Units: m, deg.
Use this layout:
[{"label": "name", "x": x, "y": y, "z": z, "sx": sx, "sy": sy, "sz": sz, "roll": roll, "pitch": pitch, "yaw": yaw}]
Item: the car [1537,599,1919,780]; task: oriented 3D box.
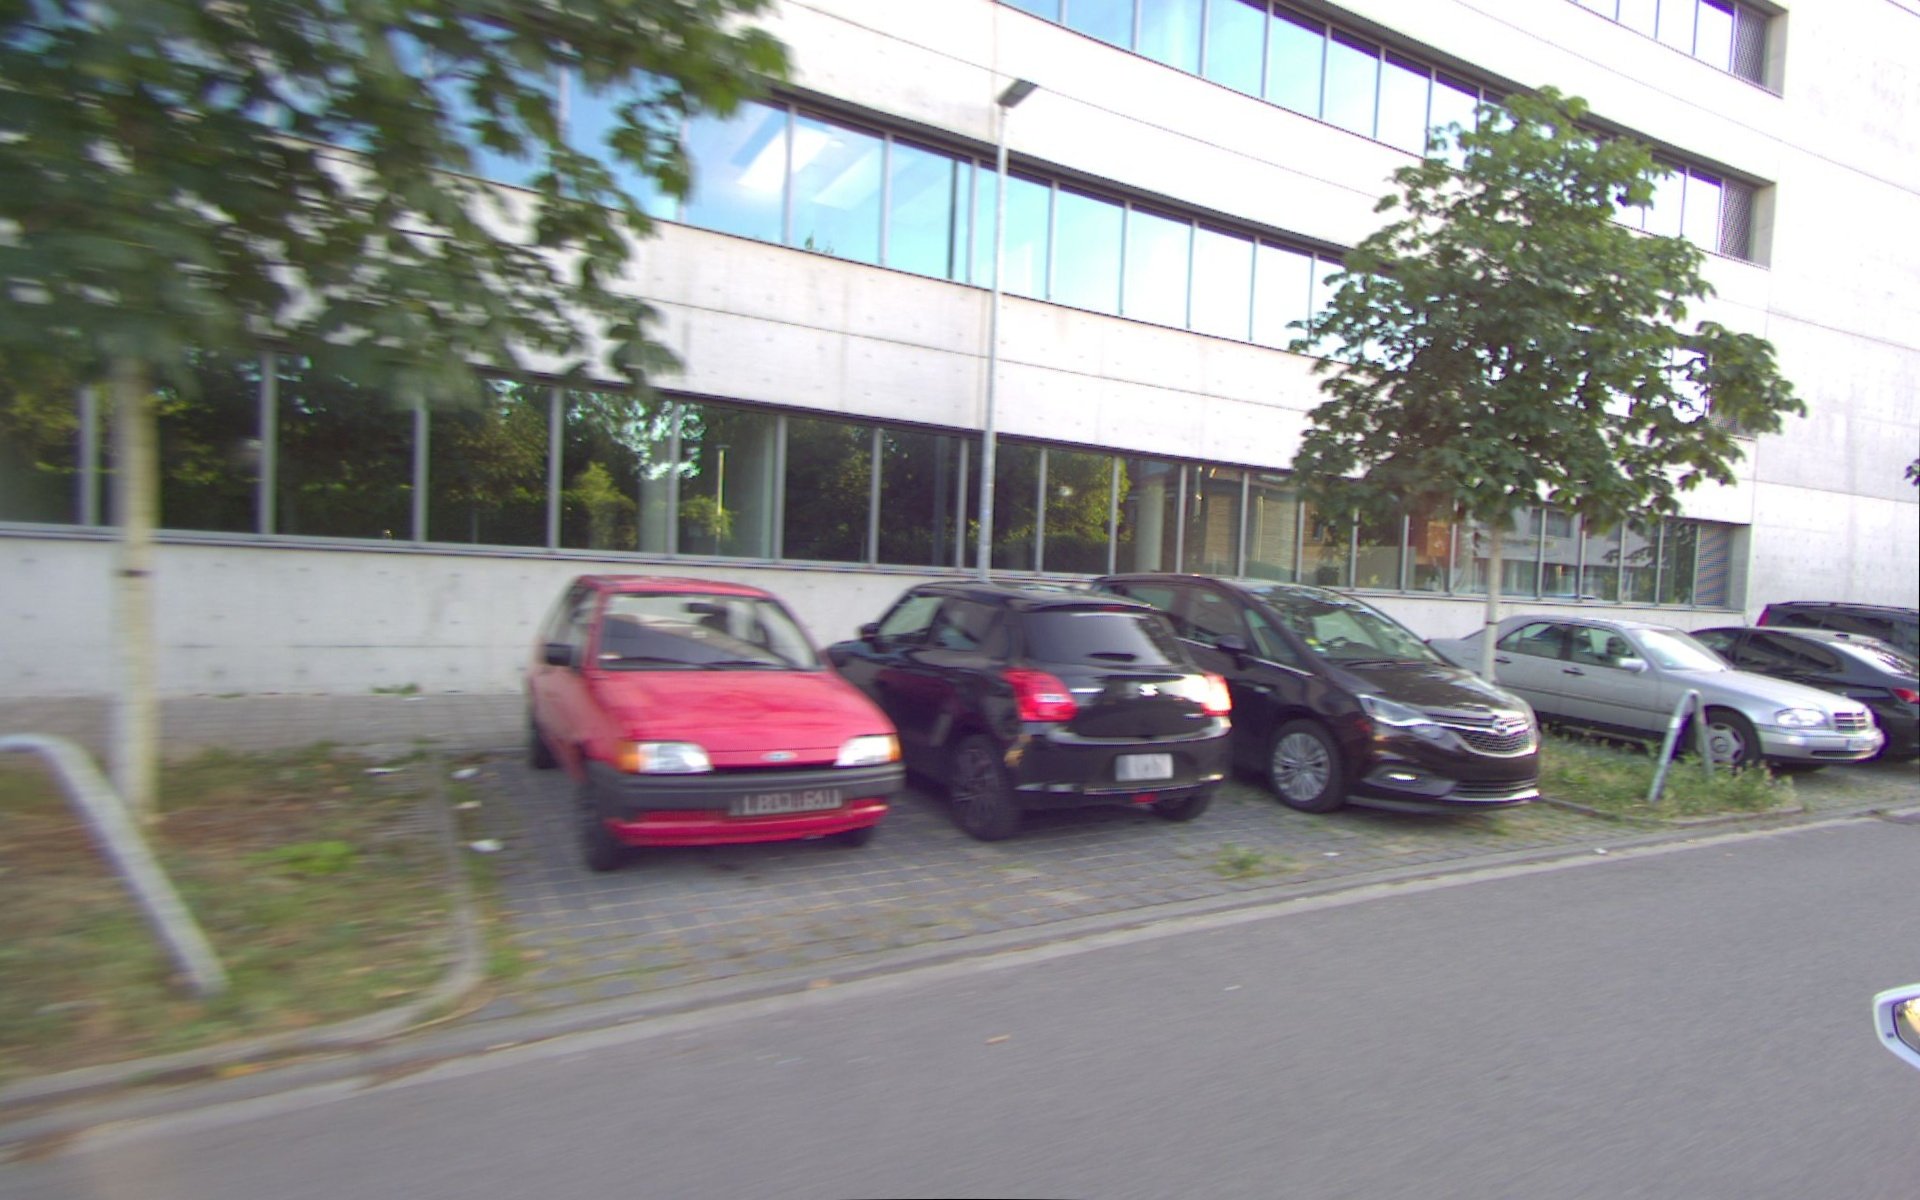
[{"label": "car", "x": 9.794, "y": 0.945, "z": 12.421, "sx": 1.738, "sy": 1.519, "sz": 4.387, "roll": 3, "pitch": 3, "yaw": -22}]

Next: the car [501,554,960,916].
[{"label": "car", "x": -1.693, "y": 0.527, "z": 6.252, "sx": 1.692, "sy": 1.477, "sz": 3.682, "roll": 2, "pitch": 2, "yaw": -31}]

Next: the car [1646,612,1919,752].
[{"label": "car", "x": 12.061, "y": 1.095, "z": 13.673, "sx": 1.702, "sy": 1.423, "sz": 4.129, "roll": 3, "pitch": 3, "yaw": -26}]

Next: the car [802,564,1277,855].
[{"label": "car", "x": 0.298, "y": 0.560, "z": 7.387, "sx": 1.659, "sy": 1.477, "sz": 3.684, "roll": 2, "pitch": 2, "yaw": -30}]

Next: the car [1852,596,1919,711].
[{"label": "car", "x": 18.528, "y": 1.142, "z": 16.714, "sx": 1.863, "sy": 1.973, "sz": 5.059, "roll": 3, "pitch": 3, "yaw": -25}]

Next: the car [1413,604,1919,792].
[{"label": "car", "x": 7.644, "y": 0.906, "z": 11.415, "sx": 1.740, "sy": 1.484, "sz": 4.418, "roll": 1, "pitch": 2, "yaw": -26}]

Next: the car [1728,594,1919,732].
[{"label": "car", "x": 14.159, "y": 0.988, "z": 14.687, "sx": 1.702, "sy": 1.766, "sz": 4.232, "roll": 3, "pitch": 3, "yaw": -26}]

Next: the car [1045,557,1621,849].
[{"label": "car", "x": 2.737, "y": 0.585, "z": 8.465, "sx": 1.874, "sy": 1.719, "sz": 4.288, "roll": 2, "pitch": 2, "yaw": -30}]
